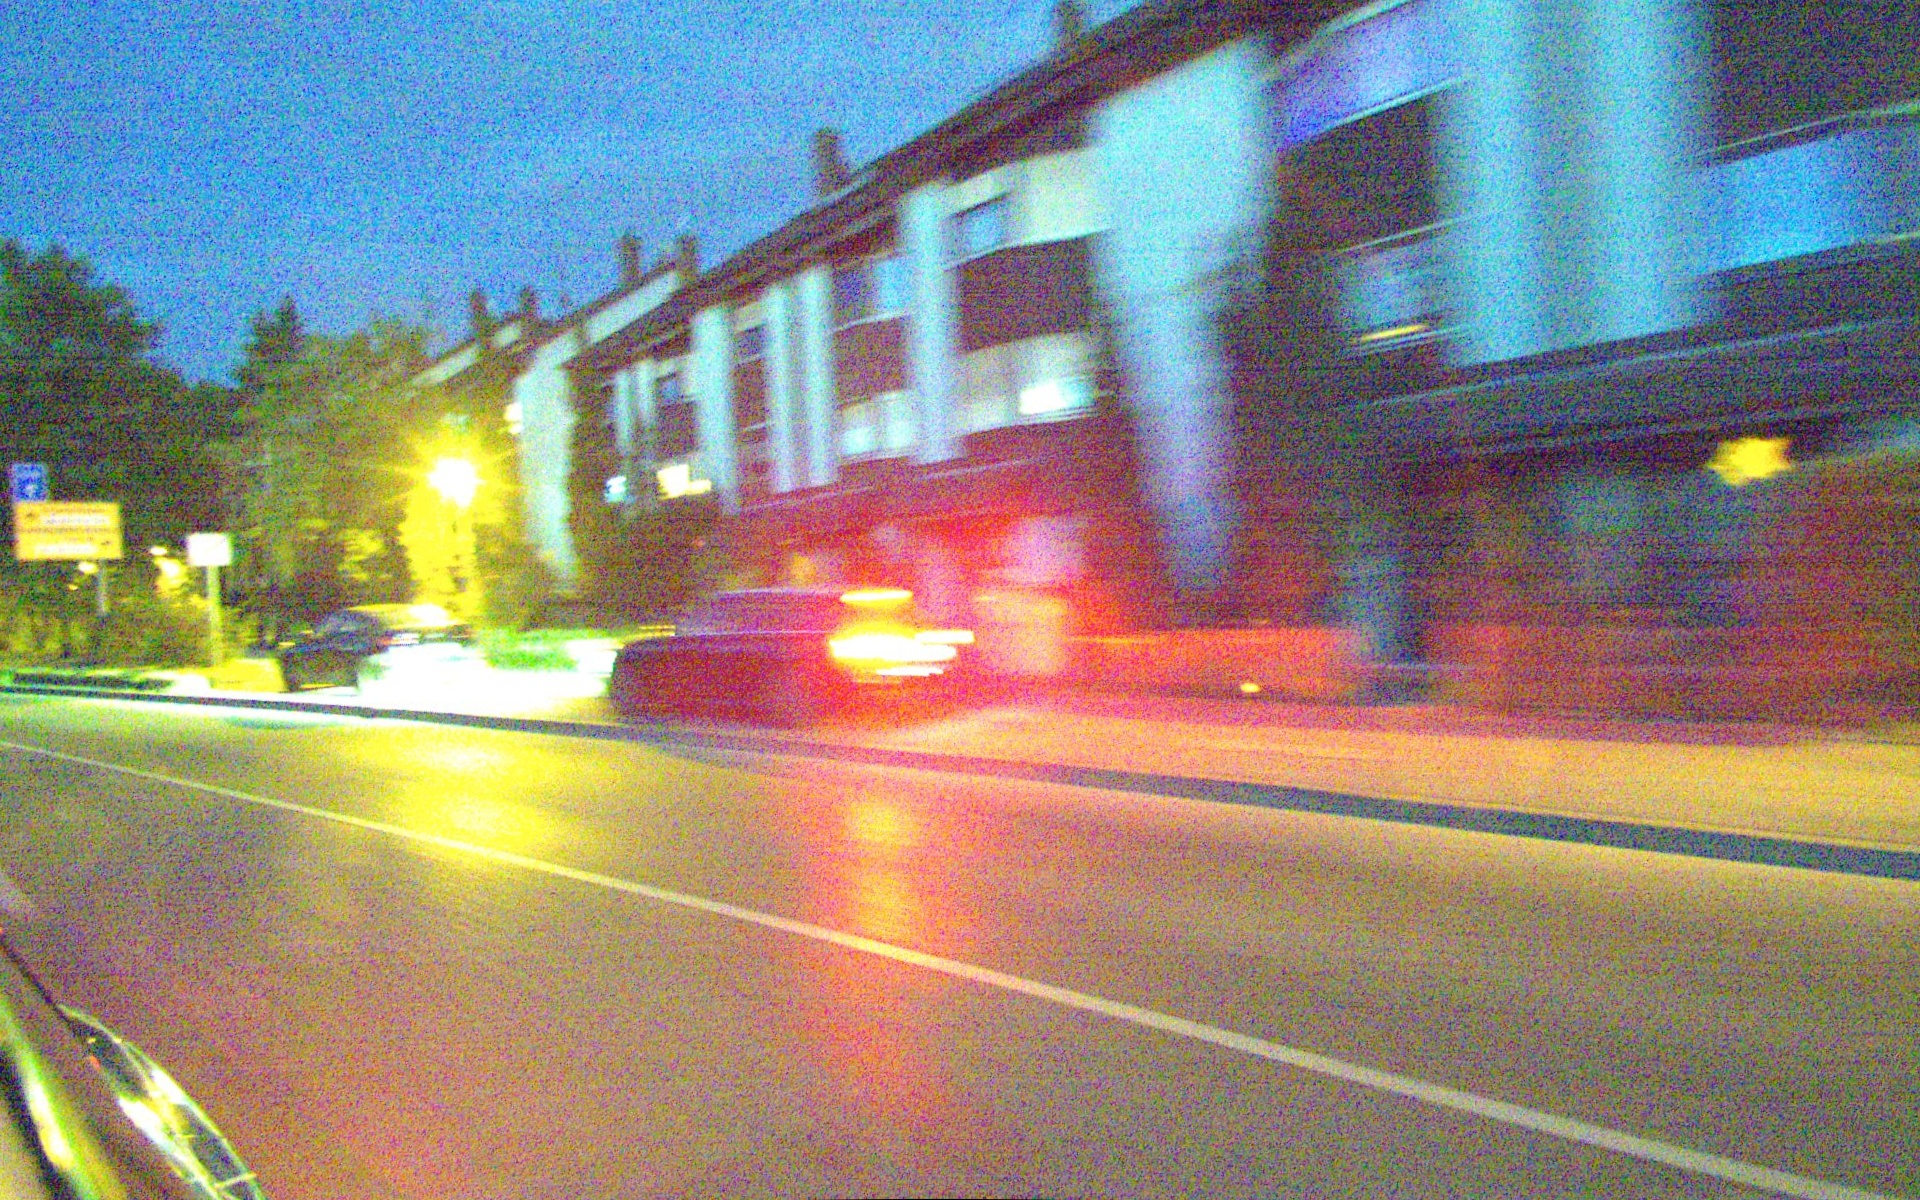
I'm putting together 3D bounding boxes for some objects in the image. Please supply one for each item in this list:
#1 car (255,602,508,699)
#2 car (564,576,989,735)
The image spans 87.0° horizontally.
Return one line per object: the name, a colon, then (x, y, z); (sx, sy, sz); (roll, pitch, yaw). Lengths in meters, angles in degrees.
car: (-10.006, 0.818, 17.392); (4.587, 1.390, 1.977); (-2, 1, 35)
car: (-2.235, 0.561, 11.585); (4.904, 1.456, 1.833); (-2, 1, 35)
